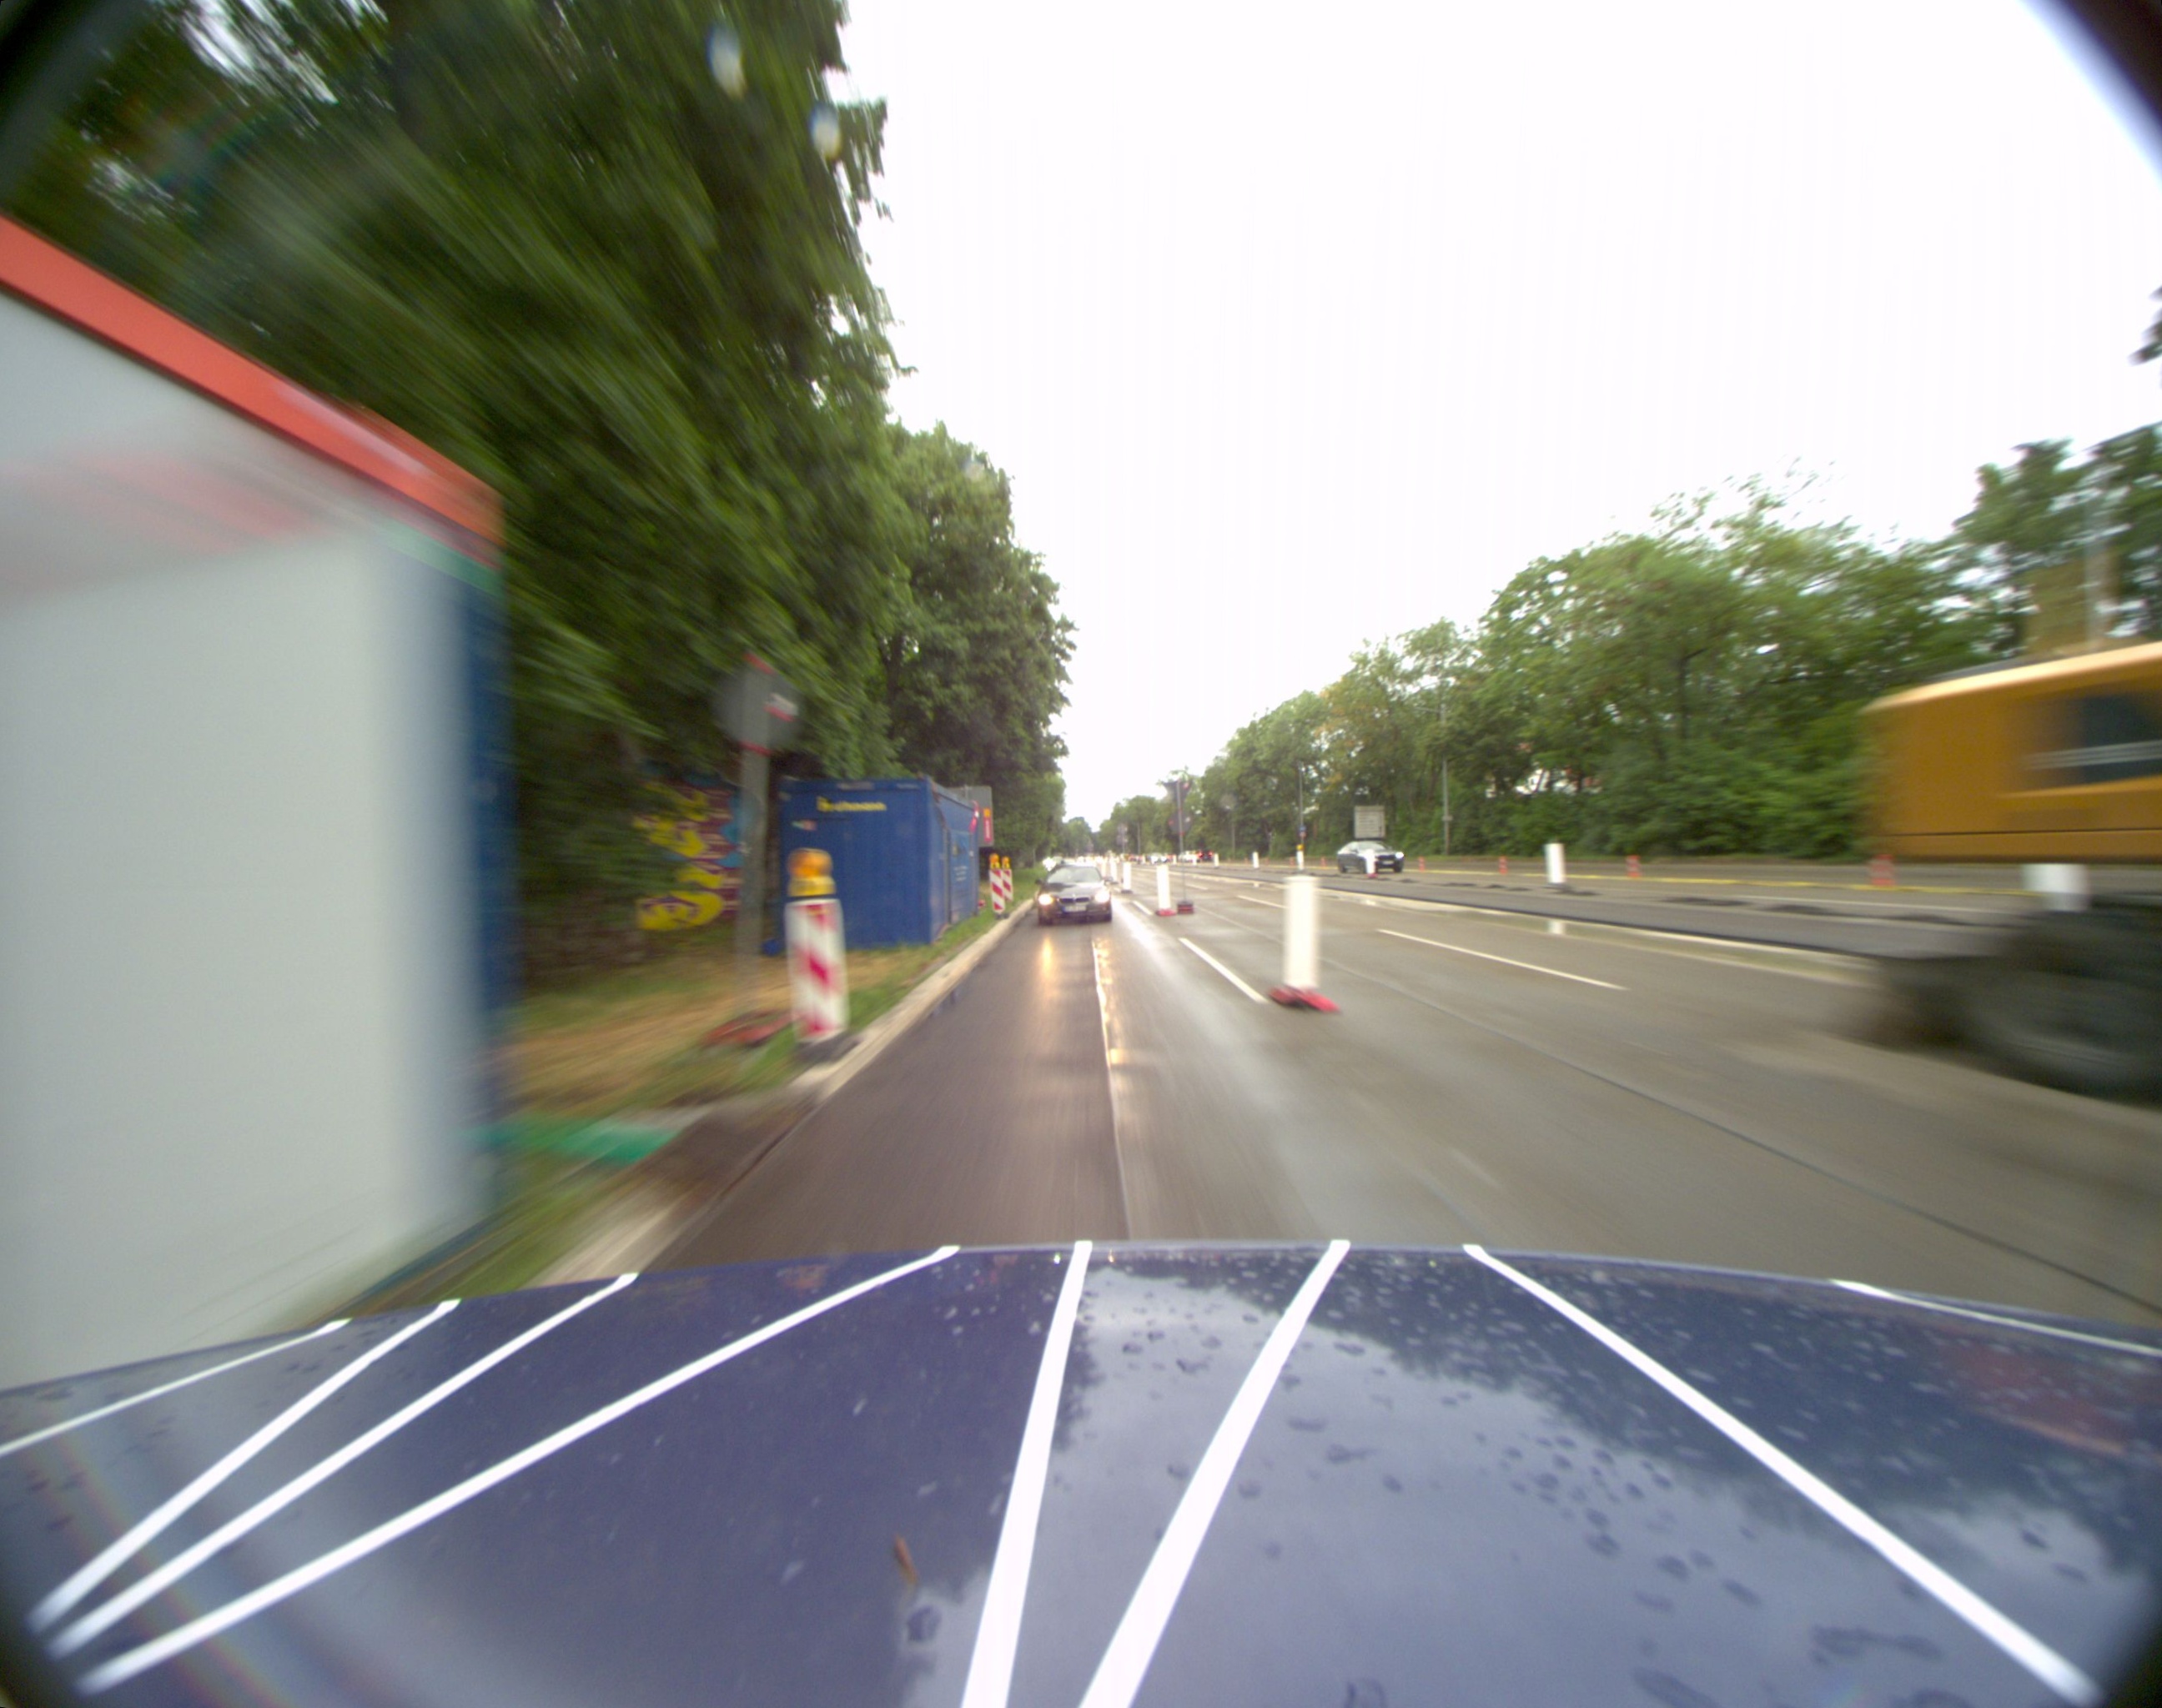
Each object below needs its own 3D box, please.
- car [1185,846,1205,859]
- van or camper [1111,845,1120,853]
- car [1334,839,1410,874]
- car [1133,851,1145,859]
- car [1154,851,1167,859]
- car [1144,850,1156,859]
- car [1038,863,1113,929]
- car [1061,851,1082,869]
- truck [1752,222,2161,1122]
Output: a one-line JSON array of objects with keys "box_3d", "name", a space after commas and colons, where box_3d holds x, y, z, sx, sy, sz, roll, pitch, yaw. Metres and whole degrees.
[{"box_3d": [16.366, -0.228, 109.040, 1.895, 1.651, 4.892, -3, 0, -2], "name": "car"}, {"box_3d": [11.127, -1.643, 247.228, 1.999, 2.540, 7.727, -4, 0, -3], "name": "van or camper"}, {"box_3d": [14.964, 0.093, 39.375, 1.999, 1.619, 4.811, -3, 1, 0], "name": "car"}, {"box_3d": [12.884, 0.196, 168.491, 2.027, 1.715, 5.011, -3, 0, -2], "name": "car"}, {"box_3d": [13.918, 0.186, 133.698, 1.683, 1.392, 4.011, -3, 0, -2], "name": "car"}, {"box_3d": [13.434, 0.089, 148.192, 1.781, 1.479, 4.195, -3, 0, -3], "name": "car"}, {"box_3d": [-0.230, 0.990, 19.581, 1.658, 1.409, 4.127, -2, 0, -4], "name": "car"}, {"box_3d": [-1.000, 0.553, 77.787, 1.999, 1.707, 3.999, -1, 1, -1], "name": "car"}, {"box_3d": [6.788, -0.887, 0.290, 2.905, 4.234, 10.751, -3, 0, -4], "name": "truck"}]
